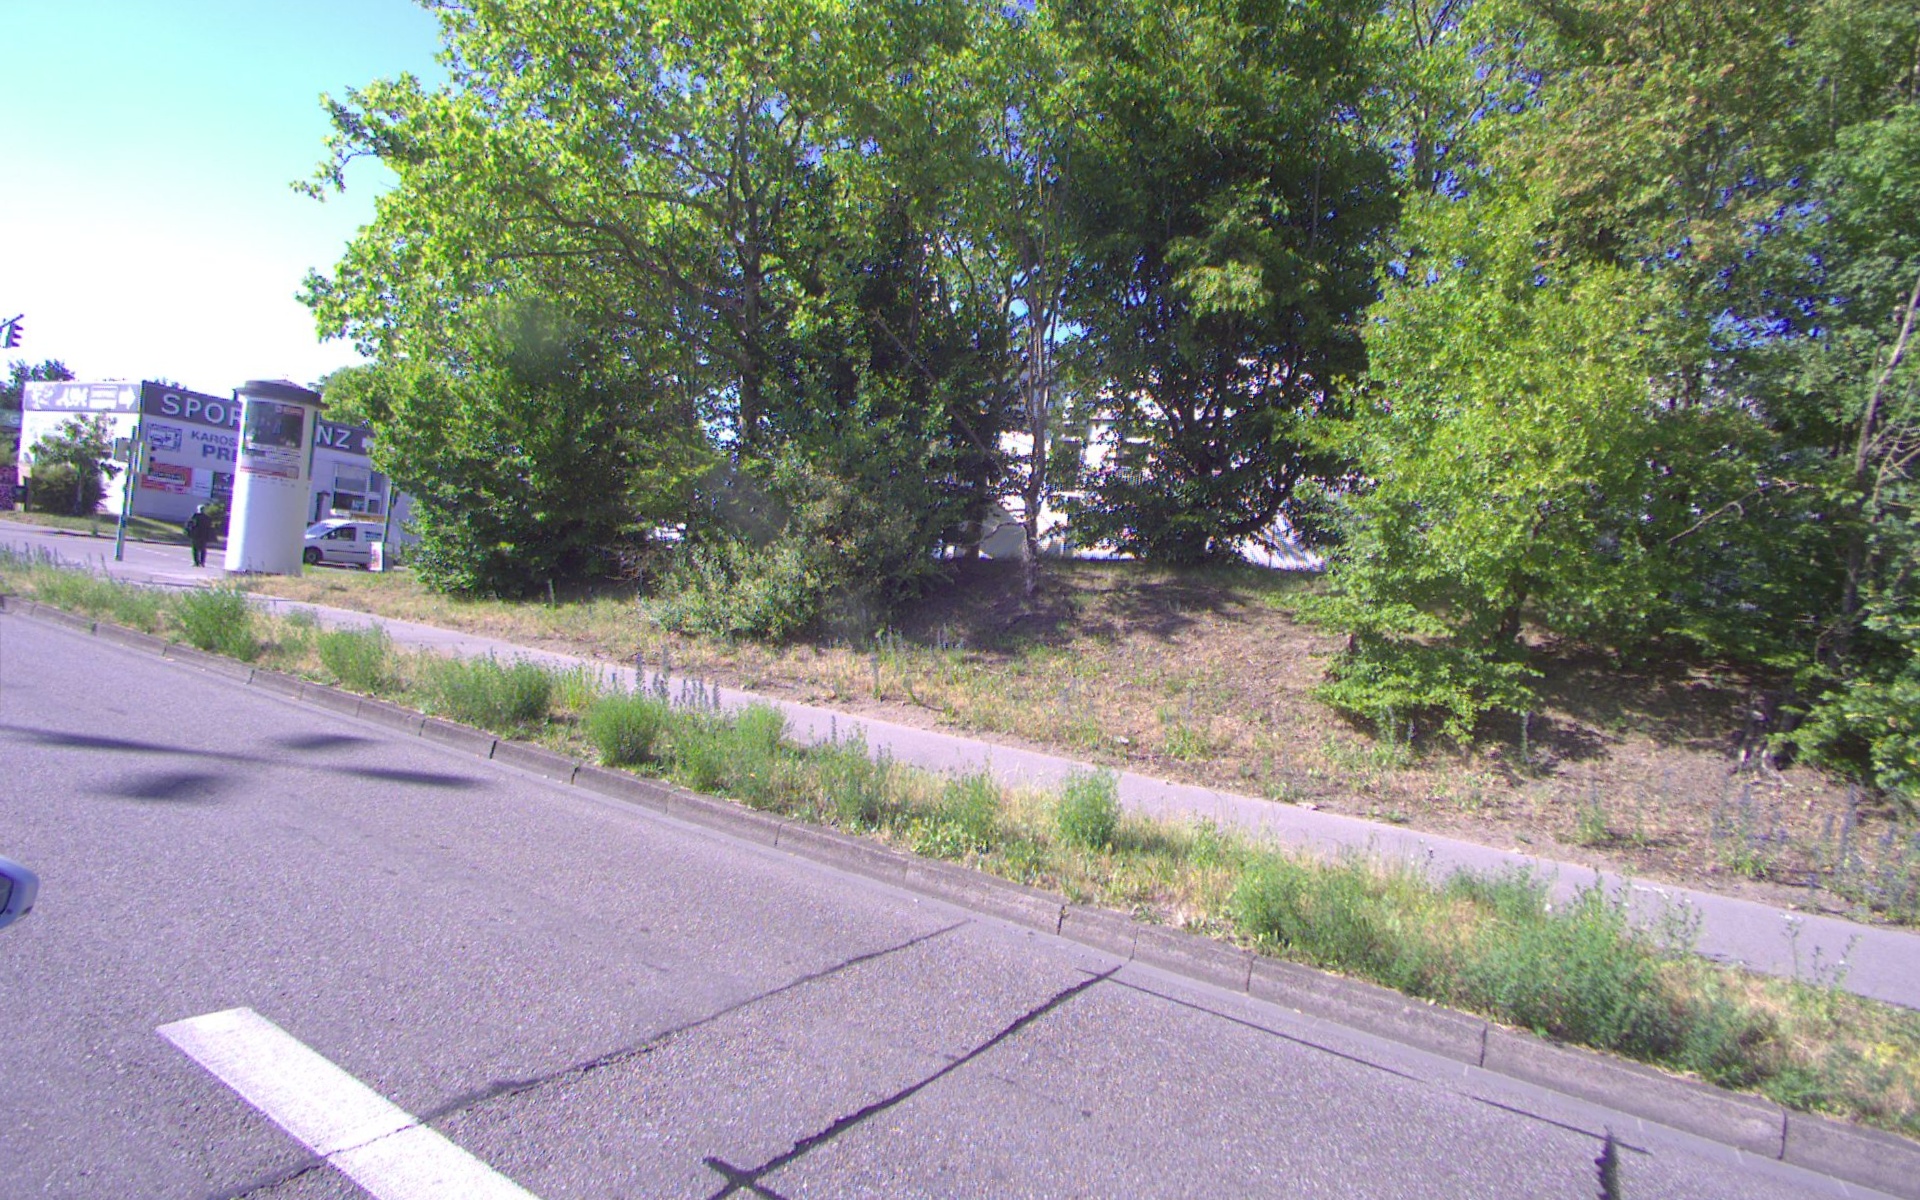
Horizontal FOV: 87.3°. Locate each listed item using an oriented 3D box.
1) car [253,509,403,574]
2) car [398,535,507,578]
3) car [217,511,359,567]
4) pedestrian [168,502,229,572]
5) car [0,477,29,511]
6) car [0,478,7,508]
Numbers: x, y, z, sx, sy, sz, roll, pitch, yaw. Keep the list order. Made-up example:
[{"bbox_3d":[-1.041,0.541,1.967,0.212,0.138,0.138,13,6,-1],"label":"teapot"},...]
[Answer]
[{"bbox_3d":[-23.856,-2.177,38.158,1.735,1.824,4.387,9,1,30],"label":"car"},{"bbox_3d":[-23.122,-1.954,45.977,1.752,1.509,4.046,7,1,30],"label":"car"},{"bbox_3d":[-26.629,-2.380,40.025,1.735,1.568,4.292,9,1,30],"label":"car"},{"bbox_3d":[-21.205,-1.748,28.028,0.923,1.755,0.927,6,-1,31],"label":"pedestrian"},{"bbox_3d":[-46.897,-5.225,47.106,1.828,1.472,4.490,7,1,33],"label":"car"},{"bbox_3d":[-49.248,-5.492,48.475,1.828,1.472,4.490,7,1,33],"label":"car"}]
